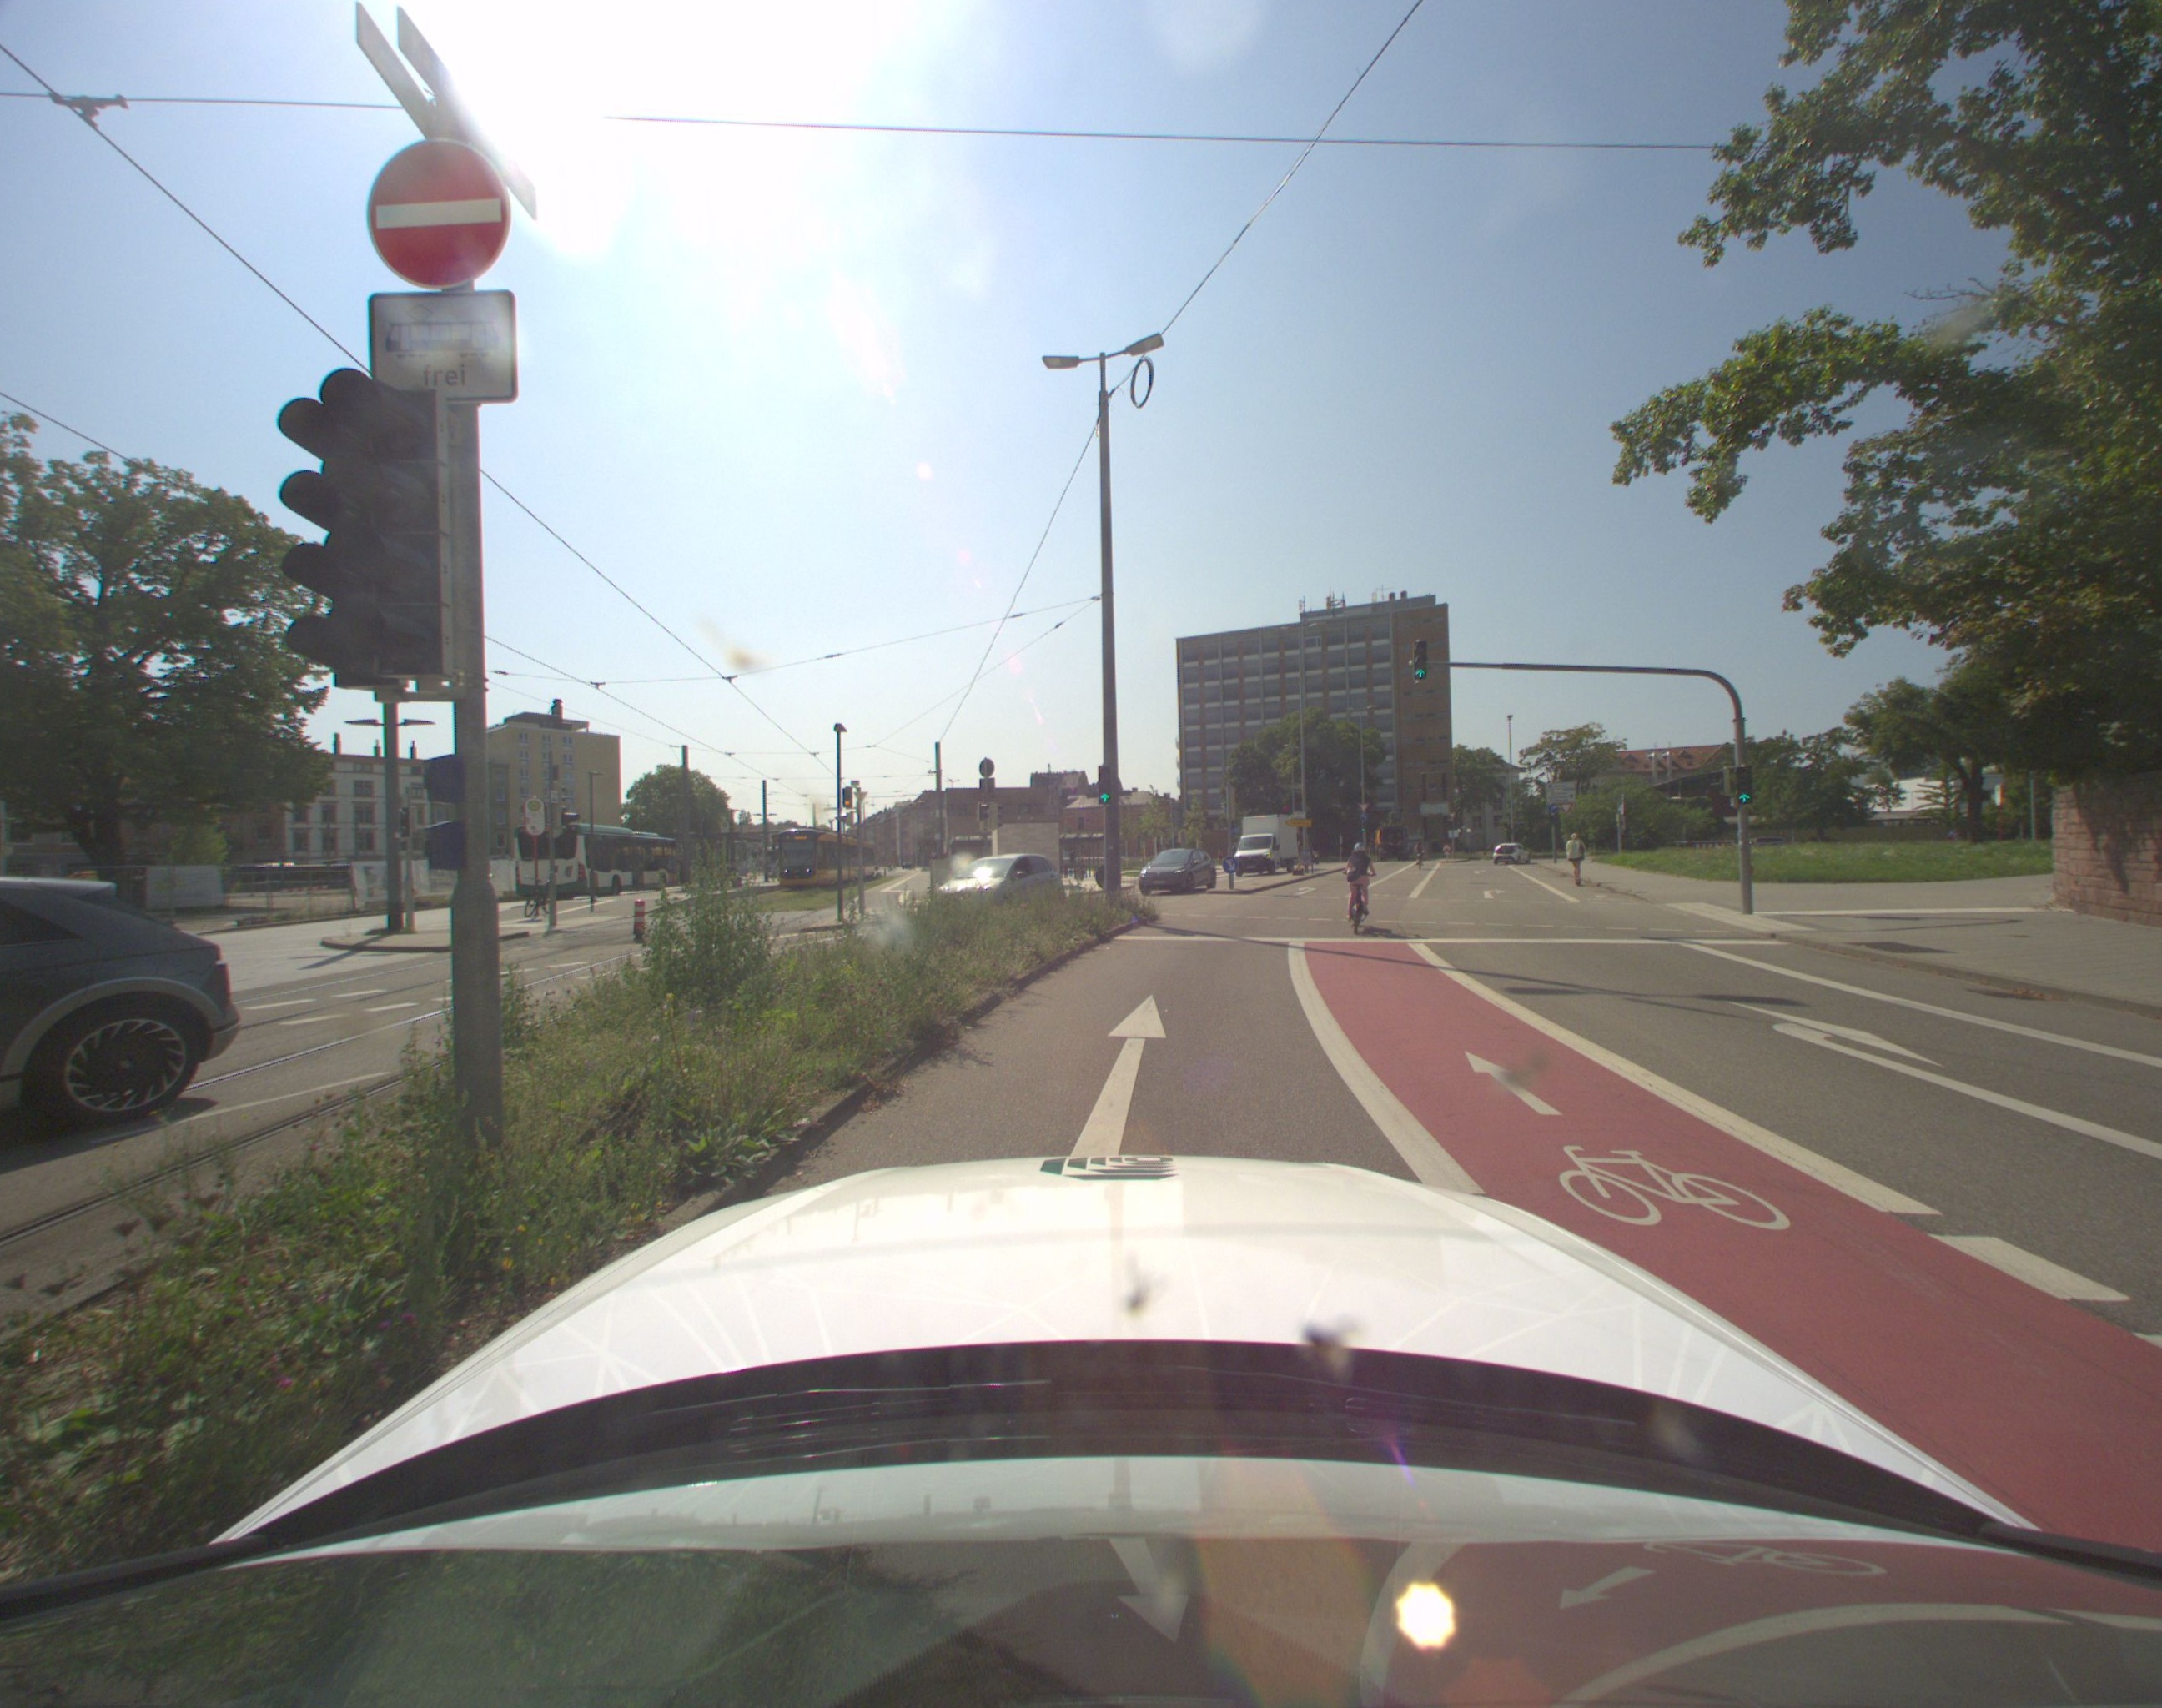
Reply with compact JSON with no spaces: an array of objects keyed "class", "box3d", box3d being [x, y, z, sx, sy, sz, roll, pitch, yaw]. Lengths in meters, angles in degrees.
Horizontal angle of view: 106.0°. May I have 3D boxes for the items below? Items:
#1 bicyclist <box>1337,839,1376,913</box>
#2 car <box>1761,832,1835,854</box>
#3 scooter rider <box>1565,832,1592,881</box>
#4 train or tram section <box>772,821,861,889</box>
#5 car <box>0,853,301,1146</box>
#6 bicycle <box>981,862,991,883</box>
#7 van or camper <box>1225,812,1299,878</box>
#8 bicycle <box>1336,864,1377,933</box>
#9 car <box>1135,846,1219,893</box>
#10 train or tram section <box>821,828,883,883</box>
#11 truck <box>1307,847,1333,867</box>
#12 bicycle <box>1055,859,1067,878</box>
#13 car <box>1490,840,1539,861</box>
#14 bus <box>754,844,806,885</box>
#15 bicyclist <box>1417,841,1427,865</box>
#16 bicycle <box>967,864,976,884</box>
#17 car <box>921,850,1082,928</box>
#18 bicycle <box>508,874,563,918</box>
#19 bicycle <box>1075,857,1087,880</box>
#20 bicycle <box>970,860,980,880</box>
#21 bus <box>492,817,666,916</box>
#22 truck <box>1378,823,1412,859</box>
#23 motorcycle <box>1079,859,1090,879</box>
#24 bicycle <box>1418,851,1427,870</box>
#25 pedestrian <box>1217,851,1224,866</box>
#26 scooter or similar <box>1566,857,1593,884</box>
[{"class":"bicyclist","box3d":[5.087,0.396,15.014,0.597,1.335,0.663,-2,0,22]},{"class":"car","box3d":[55.678,-0.853,63.288,3.949,1.565,1.834,-2,0,27]},{"class":"scooter rider","box3d":[18.181,0.087,29.771,0.755,1.775,0.558,-2,0,29]},{"class":"train or tram section","box3d":[-16.425,0.125,52.093,2.856,3.548,17.680,-1,0,-10]},{"class":"car","box3d":[-7.019,0.837,3.785,1.760,1.610,4.688,-2,0,11]},{"class":"bicycle","box3d":[-5.245,0.999,44.928,0.464,1.100,1.418,-1,-1,-8]},{"class":"van or camper","box3d":[10.202,-0.502,45.392,2.378,3.306,7.232,-2,0,25]},{"class":"bicycle","box3d":[5.127,0.783,15.086,0.599,1.163,1.820,-2,0,21]},{"class":"car","box3d":[3.523,0.517,29.192,1.681,1.530,4.207,-2,0,25]},{"class":"train or tram section","box3d":[-19.426,0.203,70.312,2.886,4.068,19.079,-1,0,-9]},{"class":"truck","box3d":[19.257,0.223,65.576,1.541,1.504,3.641,-2,0,24]},{"class":"bicycle","box3d":[-1.287,0.932,52.574,0.602,1.210,1.811,-2,0,1]},{"class":"car","box3d":[30.554,-0.246,57.391,4.023,1.391,1.826,-2,0,-44]},{"class":"bus","box3d":[-29.961,1.032,81.548,2.708,3.727,10.388,-1,0,-8]},{"class":"bicyclist","box3d":[20.214,-0.061,48.276,0.445,1.421,0.498,-2,-1,24]},{"class":"bicycle","box3d":[-5.998,1.083,44.779,0.464,1.032,1.544,-1,-1,-8]},{"class":"car","box3d":[-1.683,0.728,18.811,1.635,1.530,4.351,-2,0,25]},{"class":"bicycle","box3d":[-16.417,1.238,24.560,0.606,1.222,1.702,-2,0,-6]},{"class":"bicycle","box3d":[0.030,0.799,45.769,0.602,1.210,1.811,-2,0,1]},{"class":"bicycle","box3d":[-6.995,1.043,53.541,0.605,1.253,2.614,-1,0,-8]},{"class":"bus","box3d":[-22.100,0.521,36.798,2.958,3.775,10.558,-1,0,-10]},{"class":"truck","box3d":[27.877,-1.130,72.434,2.674,2.990,5.996,-1,0,20]},{"class":"motorcycle","box3d":[0.250,0.910,51.375,0.602,1.210,2.254,-2,0,1]},{"class":"bicycle","box3d":[20.193,0.384,48.173,0.440,1.116,1.454,-2,0,24]},{"class":"pedestrian","box3d":[14.560,0.429,84.865,0.531,1.552,0.414,-2,0,-21]},{"class":"scooter or similar","box3d":[18.167,0.591,29.700,0.765,0.926,1.630,-1,0,29]}]
